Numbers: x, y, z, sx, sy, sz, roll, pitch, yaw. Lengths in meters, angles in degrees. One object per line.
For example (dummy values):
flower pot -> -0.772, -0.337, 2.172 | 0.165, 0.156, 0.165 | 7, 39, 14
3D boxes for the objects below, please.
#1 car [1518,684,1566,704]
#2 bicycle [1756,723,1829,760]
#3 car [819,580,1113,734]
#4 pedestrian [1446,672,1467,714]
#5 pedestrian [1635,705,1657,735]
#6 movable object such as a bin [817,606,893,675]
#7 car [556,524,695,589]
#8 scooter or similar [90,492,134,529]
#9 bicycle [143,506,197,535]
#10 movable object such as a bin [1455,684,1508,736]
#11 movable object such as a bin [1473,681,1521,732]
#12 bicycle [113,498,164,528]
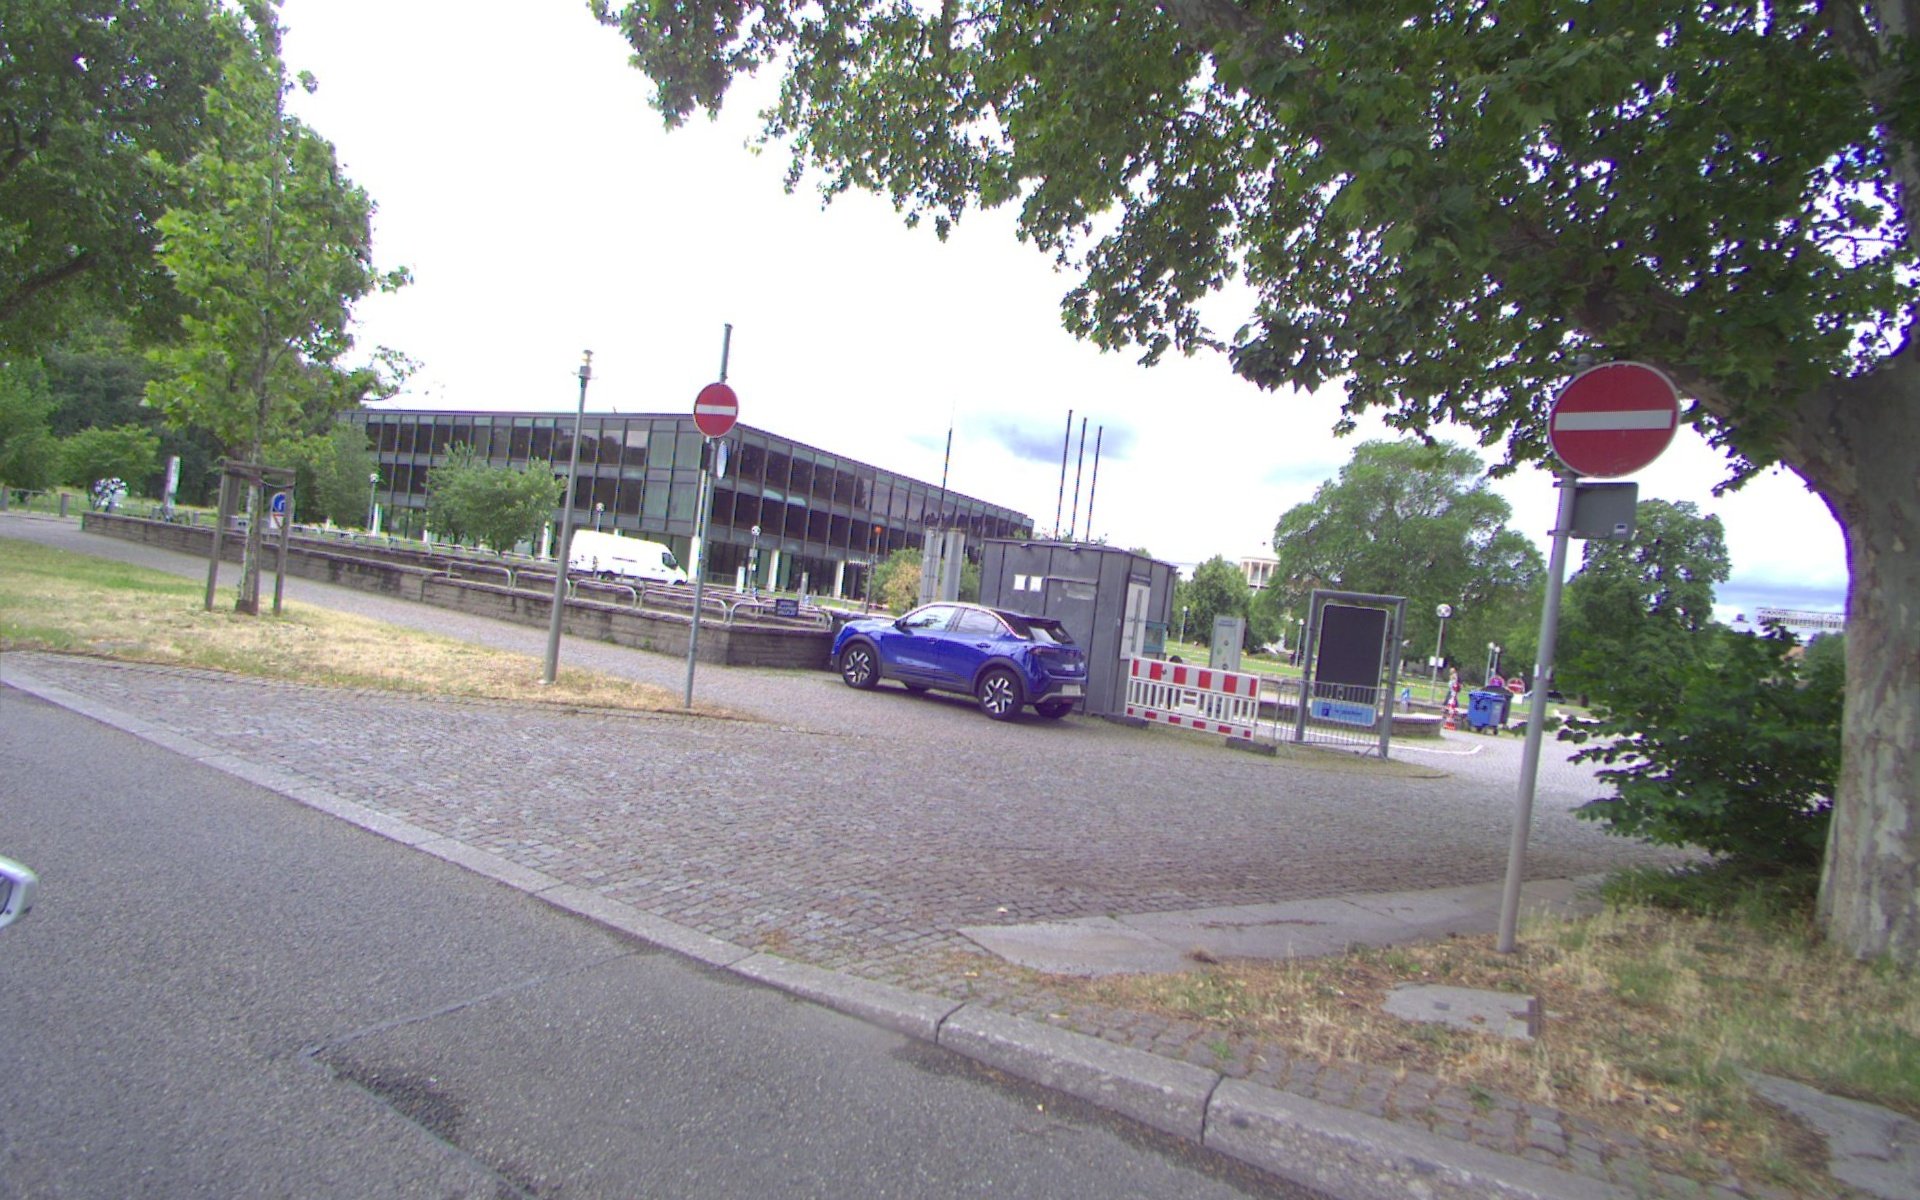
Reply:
car -> 71.686, 11.593, 123.936 | 4.835, 1.758, 2.075 | 6, -3, 34
bicycle -> 40.655, 6.889, 49.165 | 2.536, 1.360, 0.727 | 6, -2, 31
car -> 0.030, 0.804, 15.166 | 3.961, 1.571, 1.762 | 9, 1, 34
pedestrian -> 22.504, 4.230, 45.615 | 0.537, 1.826, 0.500 | 7, -1, 4
pedestrian -> 46.441, 8.118, 68.095 | 0.929, 1.826, 0.546 | 7, -1, 4
movable object such as a bin -> -1.866, 0.731, 17.942 | 0.757, 1.078, 1.009 | 11, 2, 29
car -> -16.212, -2.051, 49.122 | 2.362, 2.288, 6.114 | 7, -1, 33
scooter or similar -> -33.197, -3.494, 39.367 | 2.190, 1.259, 0.637 | 6, -2, 34
bicycle -> -36.222, -3.650, 46.136 | 2.741, 0.986, 0.956 | 6, -2, 31
movable object such as a bin -> 15.461, 3.241, 29.815 | 1.134, 1.319, 1.410 | 7, 0, 33
movable object such as a bin -> 17.989, 3.558, 33.693 | 1.134, 1.515, 1.410 | 7, 0, 33
bicycle -> -36.700, -3.878, 44.949 | 2.297, 1.075, 0.956 | 6, -2, 31
